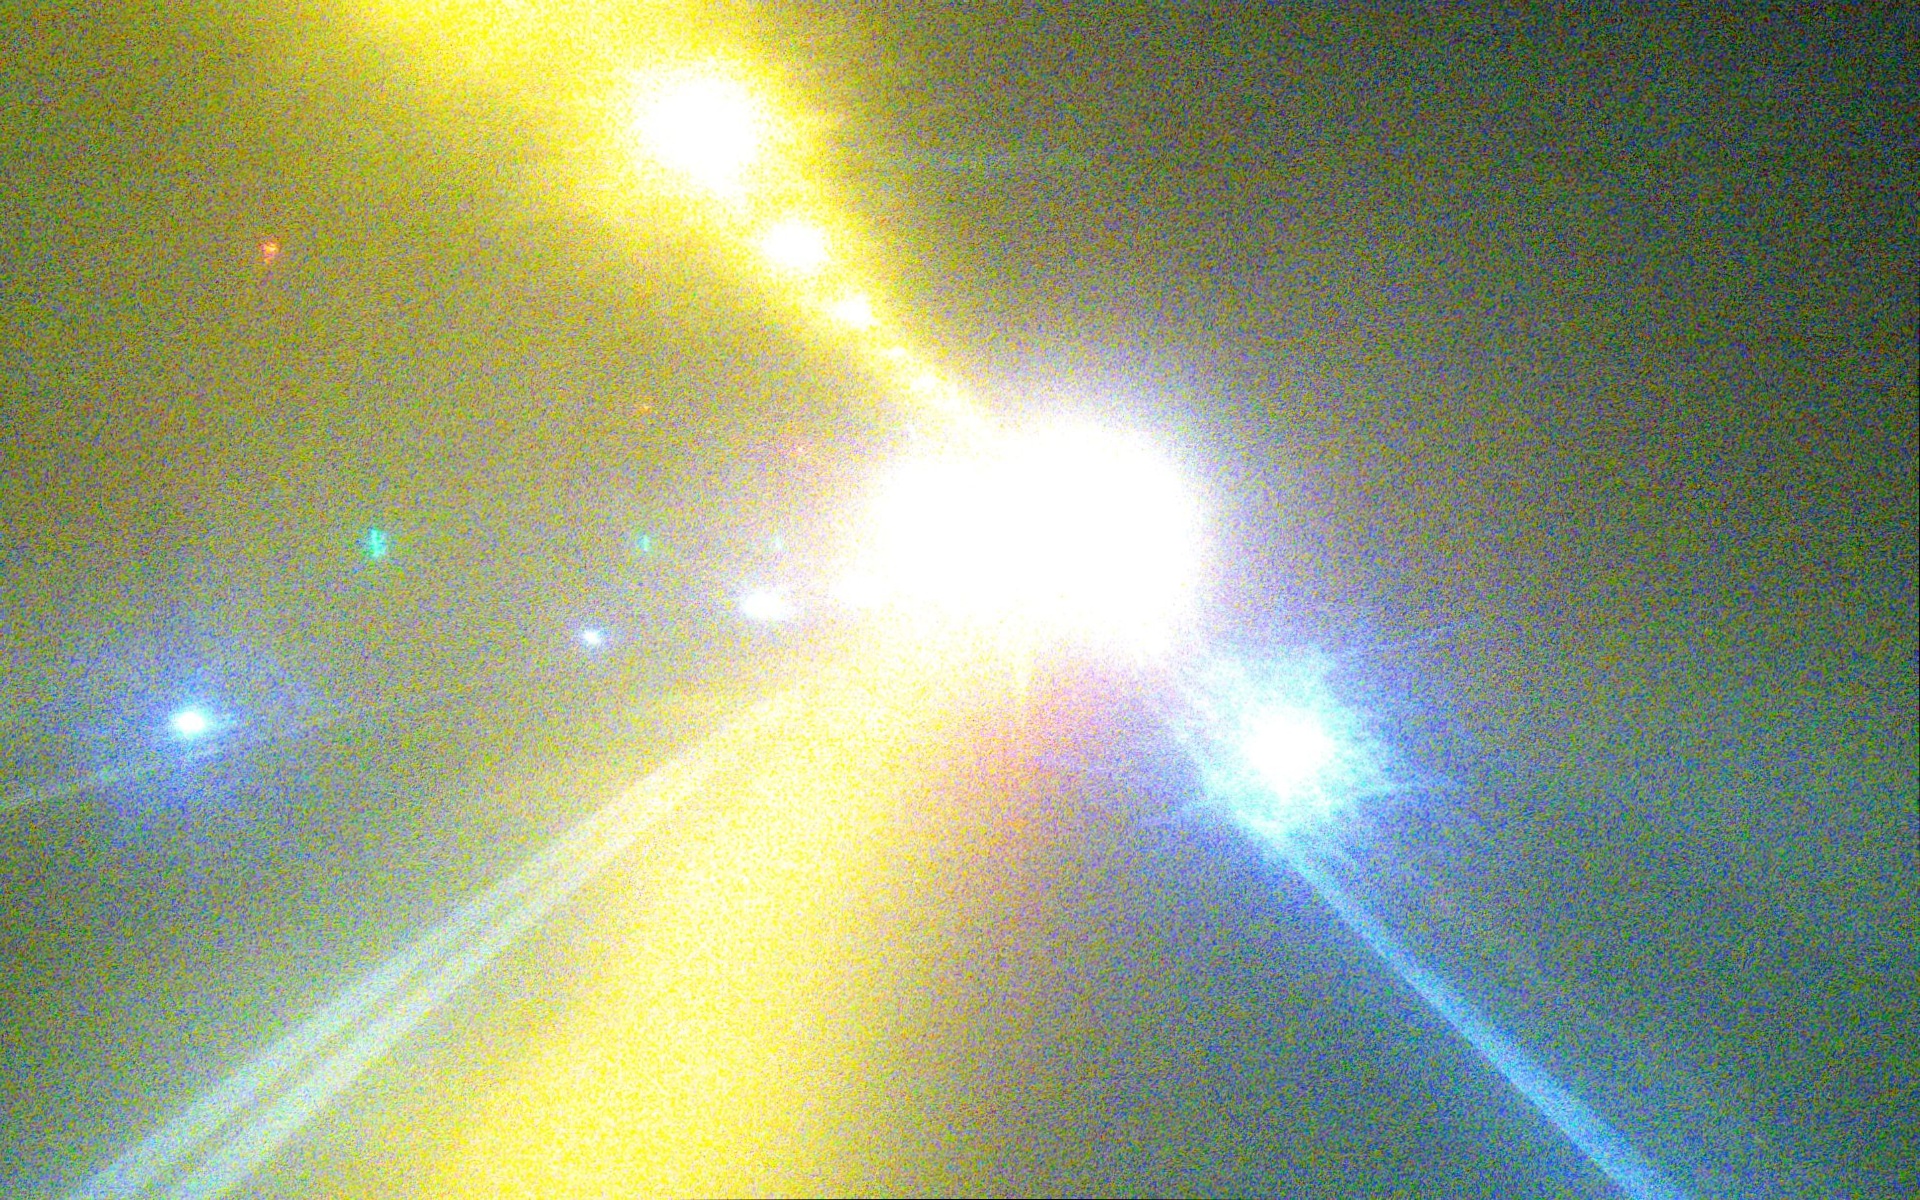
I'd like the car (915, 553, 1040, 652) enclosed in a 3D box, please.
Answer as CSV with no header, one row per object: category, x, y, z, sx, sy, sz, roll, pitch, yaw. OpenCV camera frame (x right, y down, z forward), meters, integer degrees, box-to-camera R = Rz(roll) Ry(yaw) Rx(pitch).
car,0.346,0.030,61.320,2.090,1.656,4.000,1,0,2
